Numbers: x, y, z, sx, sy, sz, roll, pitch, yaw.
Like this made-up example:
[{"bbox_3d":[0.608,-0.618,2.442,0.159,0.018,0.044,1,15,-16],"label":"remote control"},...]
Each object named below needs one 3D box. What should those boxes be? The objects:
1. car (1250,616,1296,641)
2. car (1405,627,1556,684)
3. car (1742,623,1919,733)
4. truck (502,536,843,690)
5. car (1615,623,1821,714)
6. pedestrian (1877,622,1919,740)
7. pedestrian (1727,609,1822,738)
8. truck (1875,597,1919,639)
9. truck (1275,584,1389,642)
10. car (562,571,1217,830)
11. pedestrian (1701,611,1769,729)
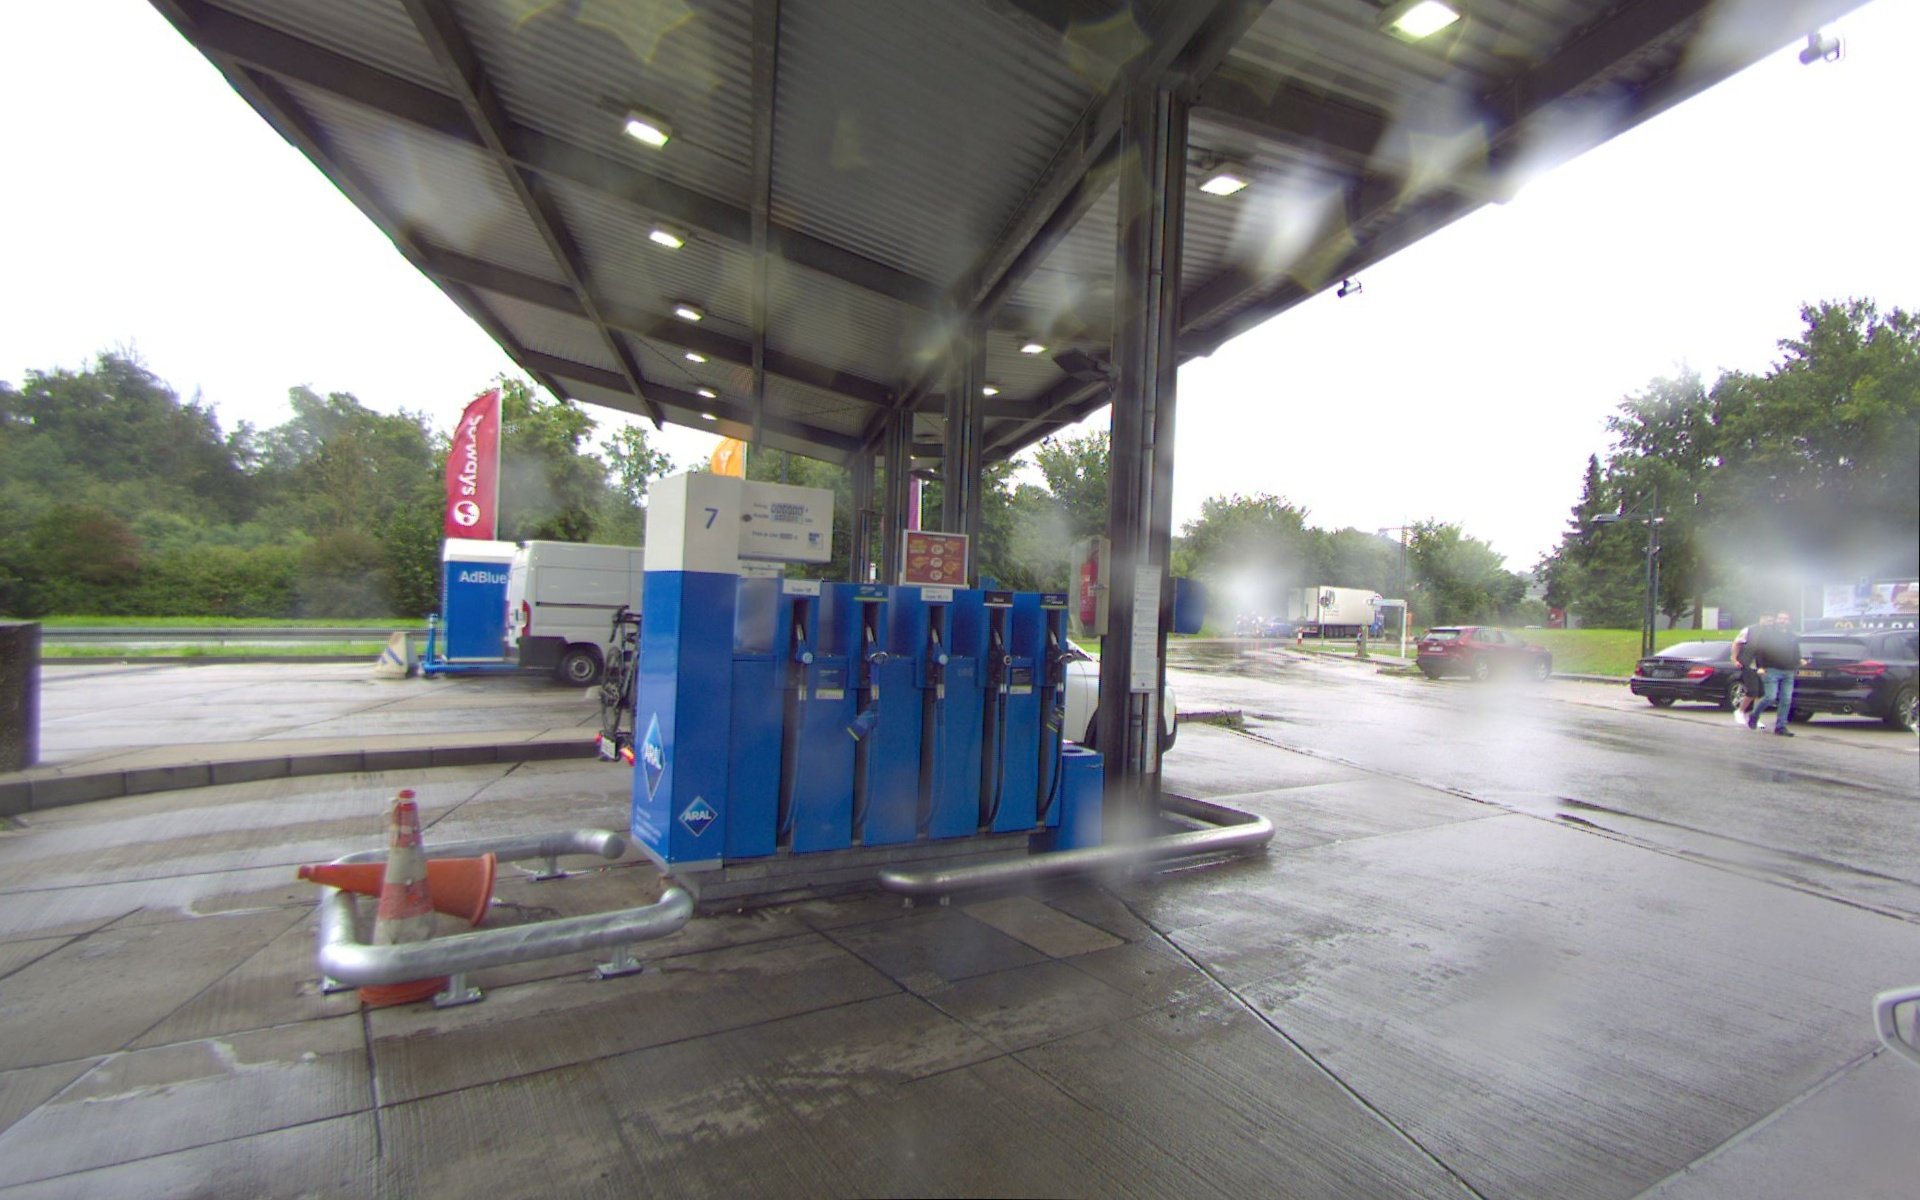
[{"bbox_3d":[22.897,2.055,73.436,1.787,1.704,3.934,2,0,40],"label":"car"},{"bbox_3d":[16.074,1.667,31.001,4.283,1.666,1.933,1,-2,-25],"label":"car"},{"bbox_3d":[16.171,1.270,17.467,4.274,1.734,2.016,1,-1,-18],"label":"car"},{"bbox_3d":[-5.339,0.290,18.937,5.793,2.527,2.221,2,0,-30],"label":"truck"},{"bbox_3d":[15.940,1.355,21.090,4.293,1.734,2.007,1,-2,-31],"label":"car"},{"bbox_3d":[13.934,1.162,14.370,0.691,1.653,0.952,2,0,-9],"label":"pedestrian"},{"bbox_3d":[12.558,1.101,15.515,0.690,1.912,0.894,2,0,2],"label":"pedestrian"},{"bbox_3d":[68.848,1.320,71.704,5.285,2.959,2.191,2,0,-5],"label":"truck"},{"bbox_3d":[31.872,1.178,85.152,3.498,4.397,16.922,2,0,40],"label":"truck"},{"bbox_3d":[-0.426,0.699,8.456,5.210,1.629,1.852,2,0,-30],"label":"car"},{"bbox_3d":[13.058,1.153,16.944,0.691,1.912,0.953,2,0,27],"label":"pedestrian"}]
